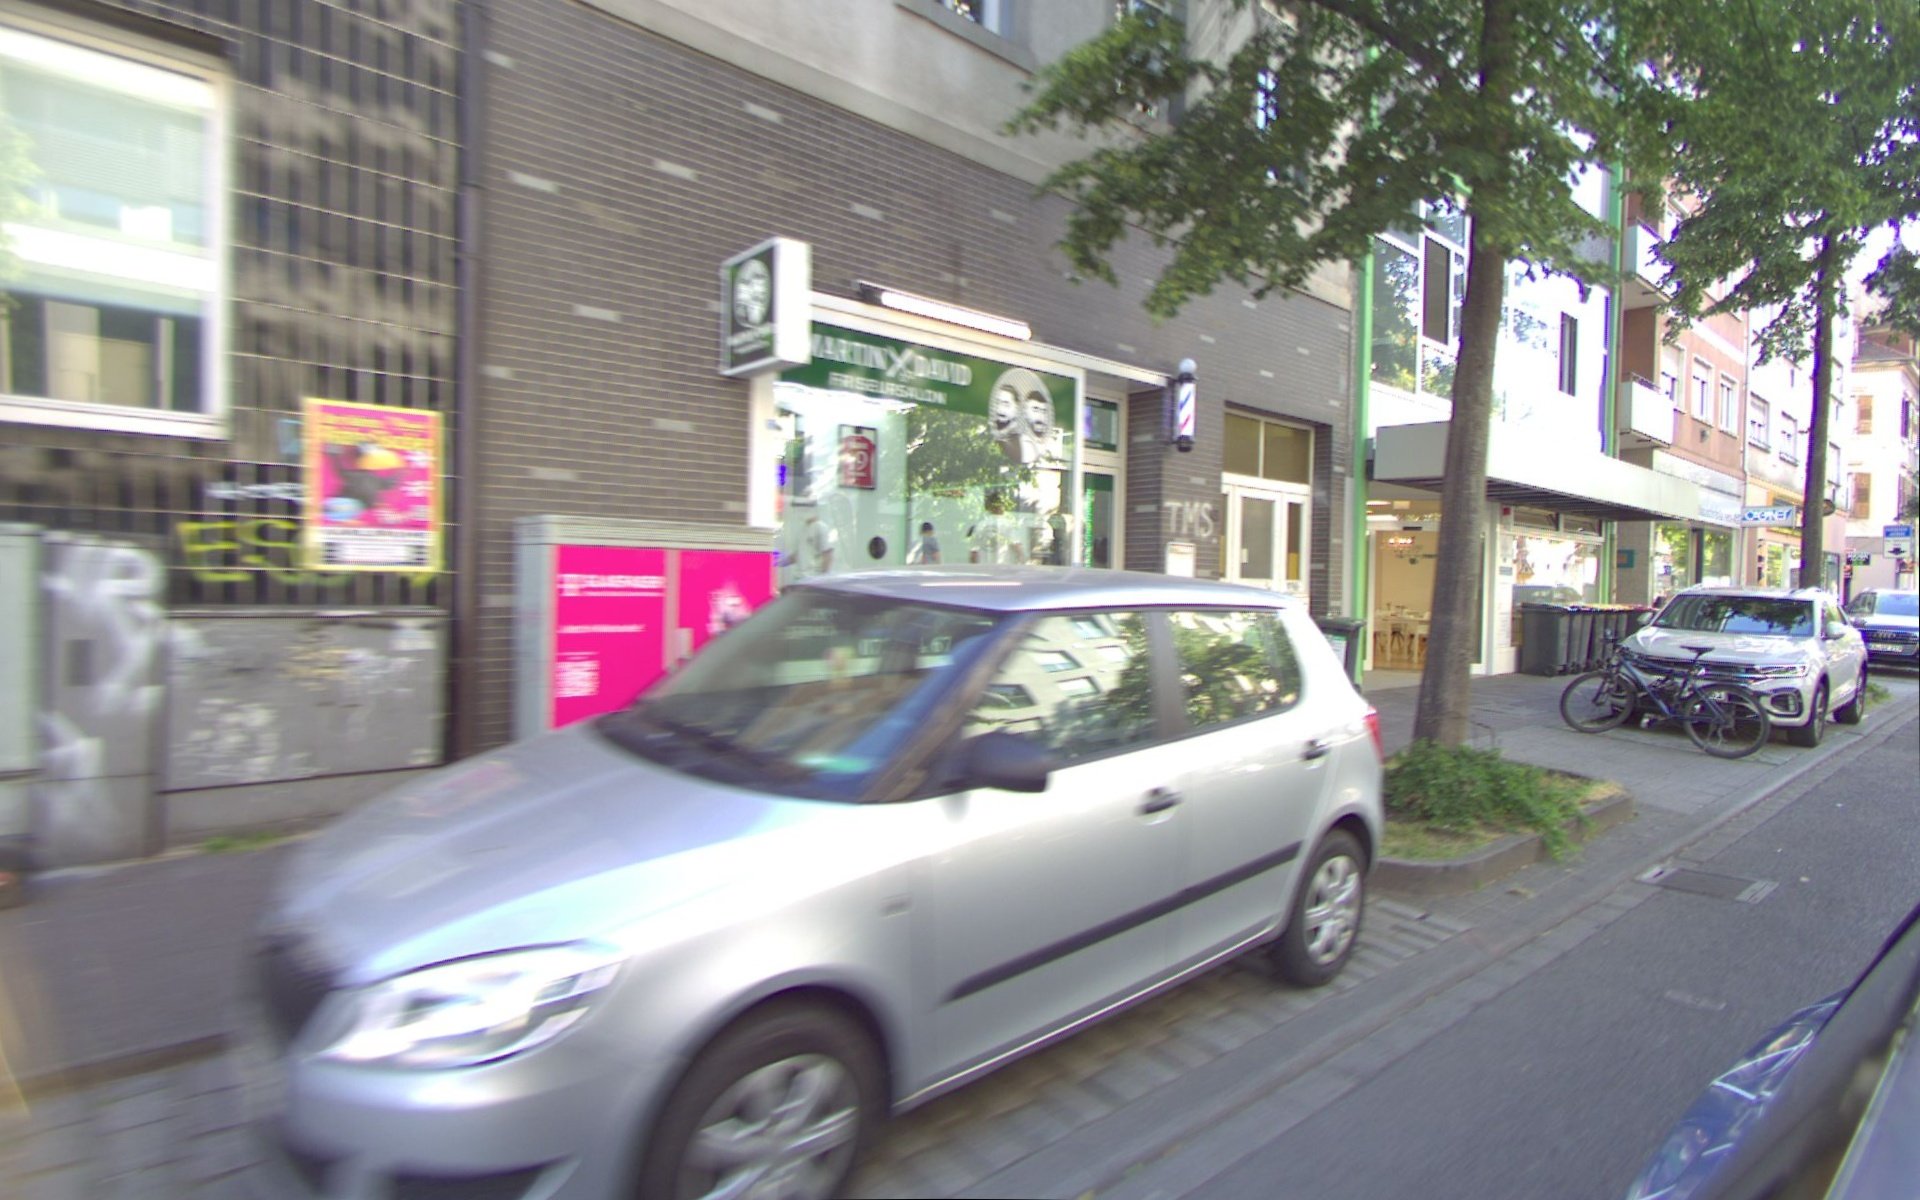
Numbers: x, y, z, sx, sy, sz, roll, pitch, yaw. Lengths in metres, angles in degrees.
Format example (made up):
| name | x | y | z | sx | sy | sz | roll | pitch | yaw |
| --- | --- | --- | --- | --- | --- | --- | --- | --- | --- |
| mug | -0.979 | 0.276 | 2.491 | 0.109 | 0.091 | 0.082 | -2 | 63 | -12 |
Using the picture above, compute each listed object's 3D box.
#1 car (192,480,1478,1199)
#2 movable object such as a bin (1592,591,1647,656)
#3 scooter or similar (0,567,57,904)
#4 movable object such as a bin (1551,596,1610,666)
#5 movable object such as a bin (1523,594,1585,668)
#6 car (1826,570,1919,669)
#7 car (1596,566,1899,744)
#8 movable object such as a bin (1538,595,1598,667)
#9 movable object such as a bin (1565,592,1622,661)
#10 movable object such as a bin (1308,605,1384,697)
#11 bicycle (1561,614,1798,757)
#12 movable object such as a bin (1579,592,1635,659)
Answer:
| name | x | y | z | sx | sy | sz | roll | pitch | yaw |
| --- | --- | --- | --- | --- | --- | --- | --- | --- | --- |
| car | 0.048 | 0.525 | 3.470 | 4.162 | 1.547 | 1.617 | 0 | 5 | -42 |
| movable object such as a bin | 11.300 | 0.390 | 17.342 | 0.579 | 1.077 | 0.612 | 0 | 2 | -40 |
| scooter or similar | -3.913 | 0.489 | 3.508 | 1.147 | 1.201 | 0.400 | 0 | 4 | -40 |
| movable object such as a bin | 9.939 | 0.485 | 16.211 | 0.579 | 1.077 | 0.615 | 0 | 2 | -40 |
| movable object such as a bin | 9.038 | 0.457 | 15.401 | 0.643 | 1.077 | 0.615 | 0 | 2 | -40 |
| car | 18.926 | 0.364 | 20.066 | 4.438 | 1.709 | 1.998 | 0 | 5 | -42 |
| car | 8.897 | 0.475 | 11.312 | 4.161 | 1.545 | 1.887 | 0 | 4 | -42 |
| movable object such as a bin | 9.494 | 0.474 | 15.804 | 0.579 | 1.077 | 0.615 | 0 | 2 | -40 |
| movable object such as a bin | 10.388 | 0.416 | 16.586 | 0.579 | 1.077 | 0.615 | 0 | 2 | -40 |
| movable object such as a bin | 4.321 | 0.547 | 11.325 | 0.643 | 0.968 | 0.524 | 0 | 2 | -40 |
| bicycle | 6.654 | 0.743 | 9.429 | 0.601 | 1.024 | 1.626 | 0 | 6 | -42 |
| movable object such as a bin | 10.844 | 0.414 | 16.964 | 0.579 | 1.077 | 0.615 | 0 | 2 | -40 |
